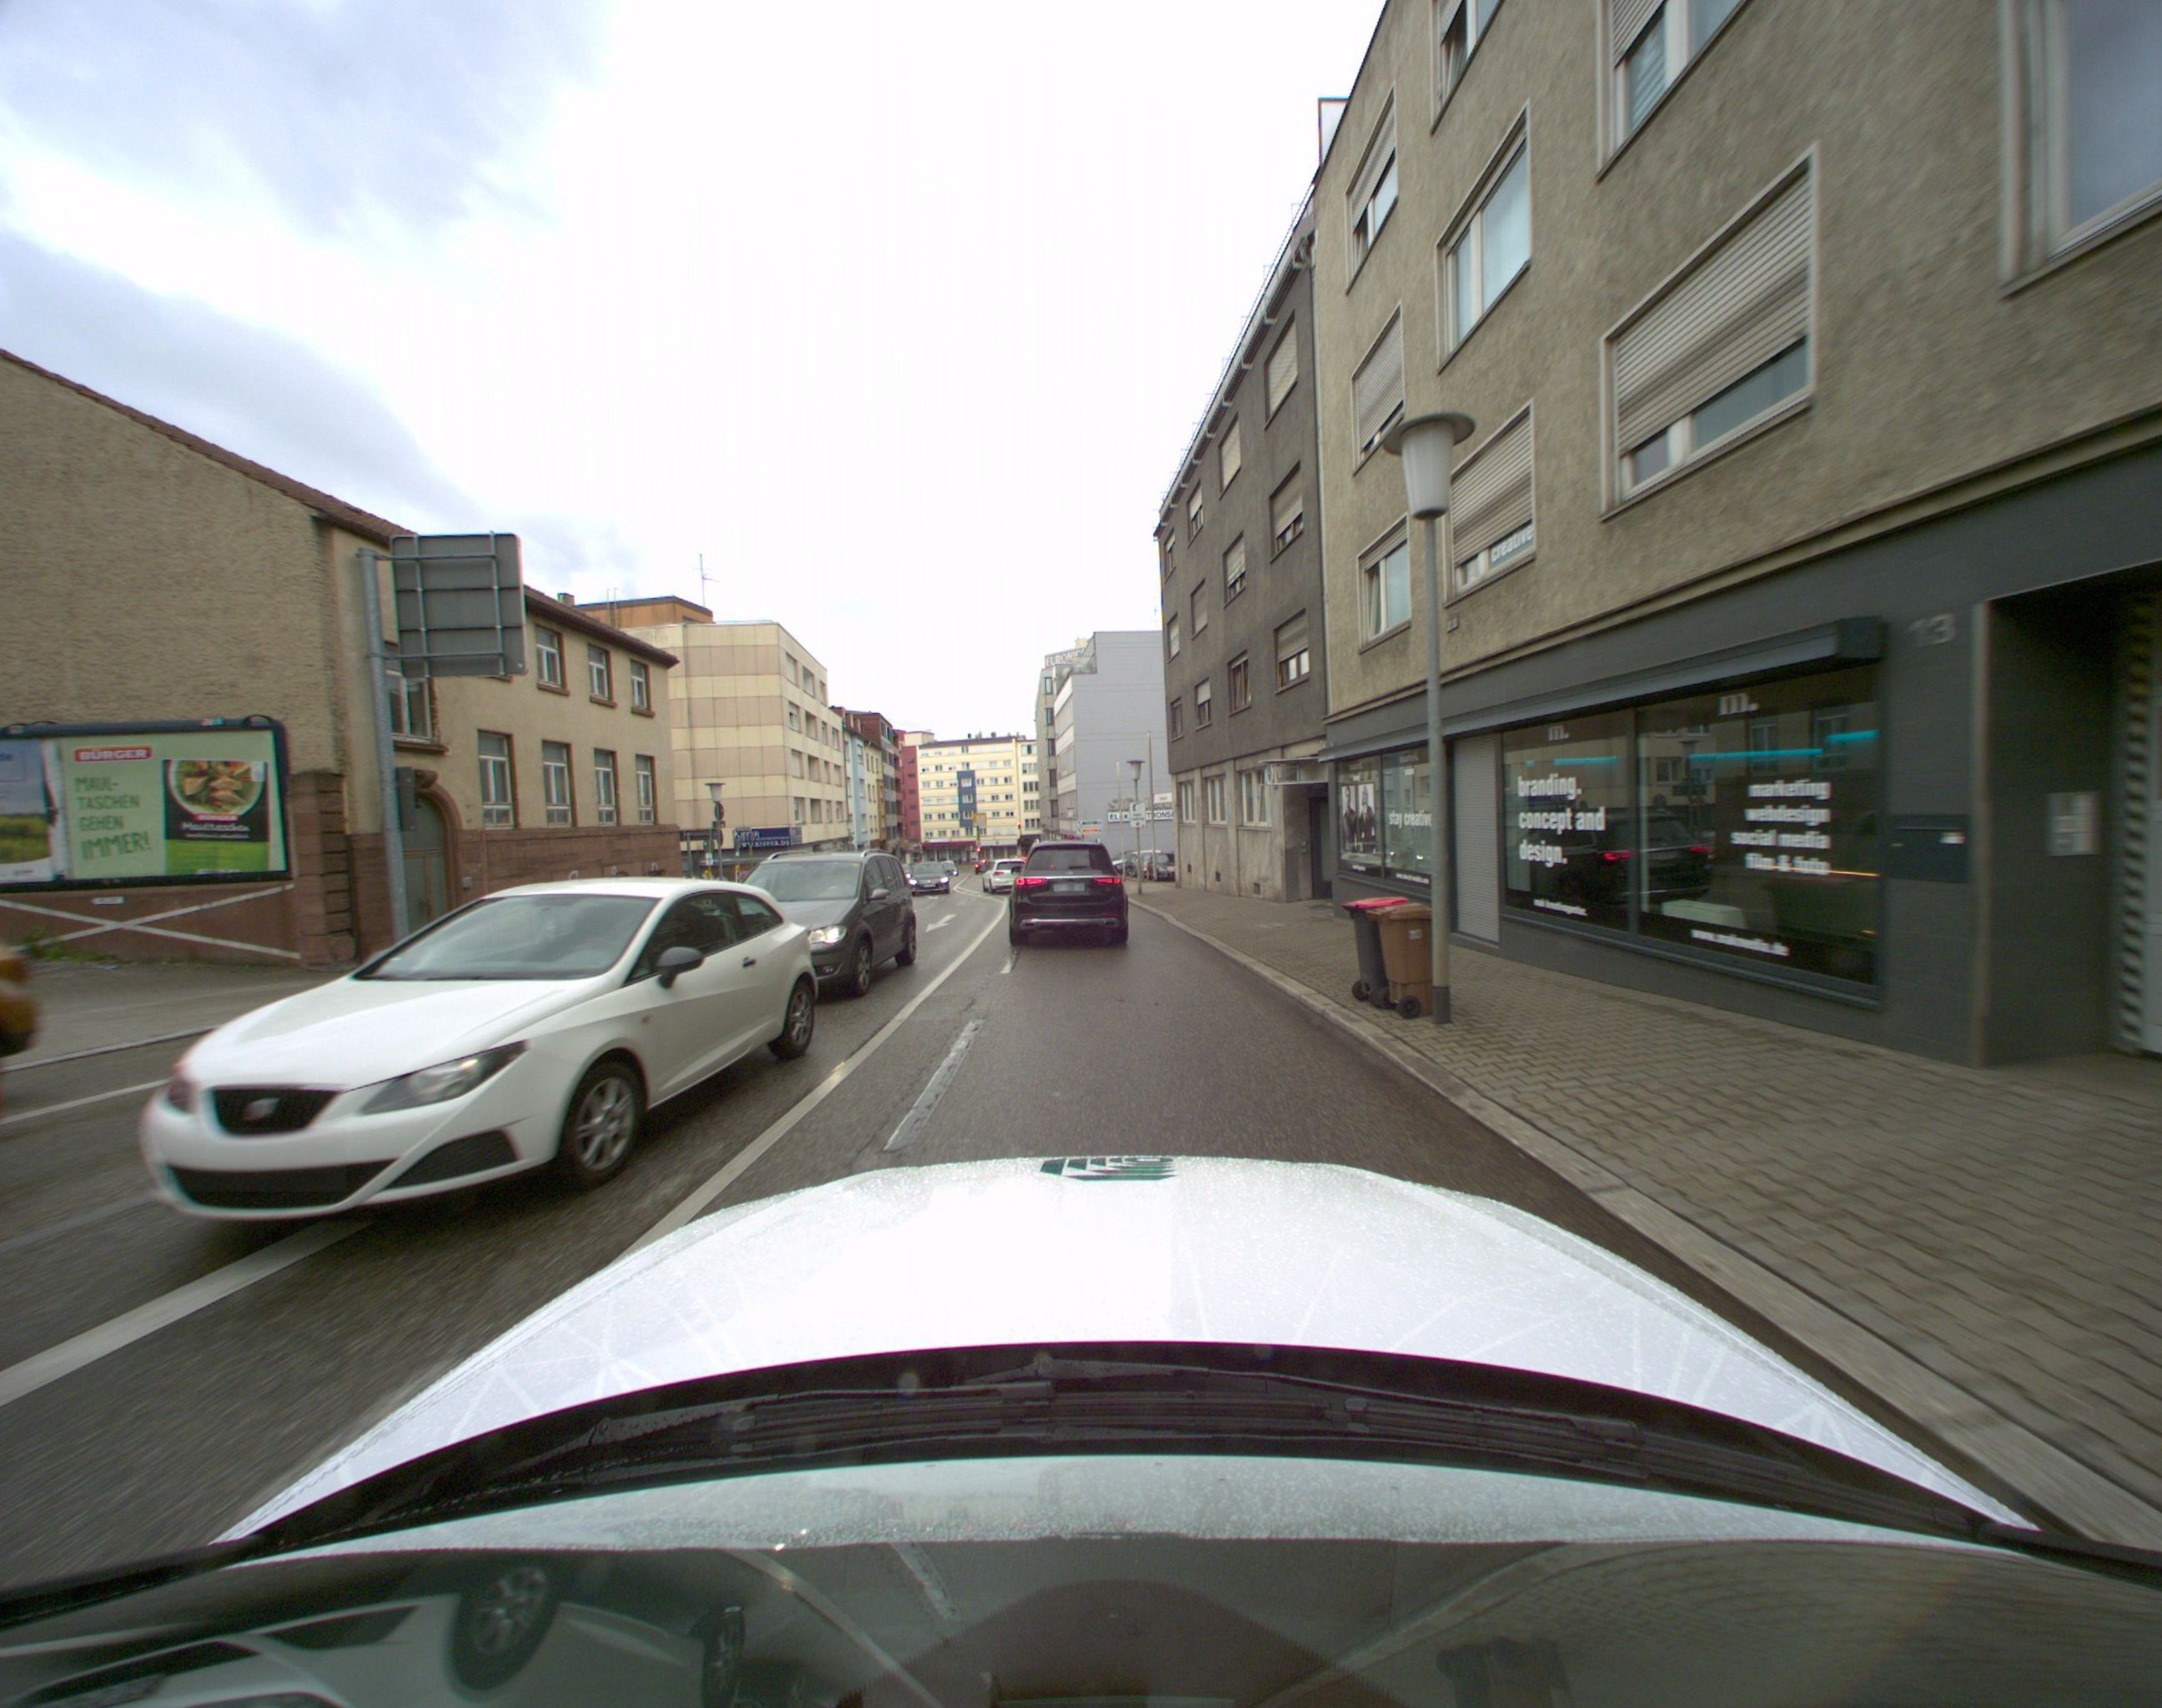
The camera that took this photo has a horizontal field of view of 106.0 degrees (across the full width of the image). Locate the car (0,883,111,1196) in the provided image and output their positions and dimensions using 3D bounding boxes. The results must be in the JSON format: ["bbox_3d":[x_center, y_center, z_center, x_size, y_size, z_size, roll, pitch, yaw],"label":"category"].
[{"bbox_3d":[-6.173,0.960,2.336,1.735,1.516,4.130,-5,-1,0],"label":"car"}]

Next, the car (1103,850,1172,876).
[{"bbox_3d":[3.594,0.563,51.731,4.007,1.495,1.718,-1,-2,-25],"label":"car"}]

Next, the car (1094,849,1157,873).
[{"bbox_3d":[3.095,0.492,56.890,4.007,1.597,1.784,-1,-2,-25],"label":"car"}]

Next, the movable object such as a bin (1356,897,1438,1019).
[{"bbox_3d":[2.728,0.889,7.066,0.523,0.950,0.538,-2,4,2],"label":"movable object such as a bin"}]

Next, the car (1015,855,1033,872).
[{"bbox_3d":[-5.466,0.916,77.801,1.521,1.548,3.098,-2,1,-8],"label":"car"}]

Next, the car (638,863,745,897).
[{"bbox_3d":[-19.189,1.263,40.230,4.313,1.512,1.900,-1,-1,4],"label":"car"}]

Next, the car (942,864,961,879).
[{"bbox_3d":[-13.223,1.737,82.765,1.715,1.317,4.127,-3,0,-11],"label":"car"}]

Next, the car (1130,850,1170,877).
[{"bbox_3d":[3.999,0.519,47.632,1.564,1.477,4.061,-1,0,-6],"label":"car"}]

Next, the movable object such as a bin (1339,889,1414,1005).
[{"bbox_3d":[2.757,0.855,7.627,0.523,0.980,0.538,-2,4,2],"label":"movable object such as a bin"}]

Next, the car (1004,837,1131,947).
[{"bbox_3d":[-0.377,0.608,15.408,2.017,1.739,4.740,0,0,-4],"label":"car"}]

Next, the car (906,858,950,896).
[{"bbox_3d":[-6.912,1.017,37.092,1.723,1.516,4.356,-4,-1,-9],"label":"car"}]

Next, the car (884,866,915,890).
[{"bbox_3d":[-13.507,1.745,60.662,1.713,1.586,4.133,-5,-1,-7],"label":"car"}]

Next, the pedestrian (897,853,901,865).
[{"bbox_3d":[-22.513,0.626,100.854,0.317,1.474,0.338,-2,4,-2],"label":"pedestrian"}]

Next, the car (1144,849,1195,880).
[{"bbox_3d":[4.528,0.499,42.166,1.794,1.477,4.478,-1,0,-5],"label":"car"}]

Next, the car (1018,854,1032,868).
[{"bbox_3d":[-6.662,0.821,96.479,1.519,1.548,3.103,-2,1,-4],"label":"car"}]

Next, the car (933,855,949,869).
[{"bbox_3d":[-19.244,1.112,112.308,1.868,1.753,4.388,-5,0,-7],"label":"car"}]

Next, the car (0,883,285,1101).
[{"bbox_3d":[-9.151,1.156,6.480,1.650,1.610,3.928,-5,-1,0],"label":"car"}]

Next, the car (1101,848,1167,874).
[{"bbox_3d":[3.549,0.471,54.331,4.007,1.597,1.784,-1,-2,-25],"label":"car"}]

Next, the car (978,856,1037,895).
[{"bbox_3d":[-3.252,0.894,35.412,1.833,1.461,4.357,-3,0,-14],"label":"car"}]

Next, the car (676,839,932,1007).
[{"bbox_3d":[-3.270,0.731,10.657,1.801,1.705,4.560,-1,-1,0],"label":"car"}]

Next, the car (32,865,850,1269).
[{"bbox_3d":[-3.006,0.825,5.187,1.692,1.480,4.292,-1,-1,2],"label":"car"}]

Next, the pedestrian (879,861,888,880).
[{"bbox_3d":[-17.965,1.499,73.907,0.671,1.652,0.604,-2,4,-9],"label":"pedestrian"}]

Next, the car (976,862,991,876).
[{"bbox_3d":[-10.047,1.543,83.879,1.282,1.124,2.785,-2,4,-2],"label":"car"}]
